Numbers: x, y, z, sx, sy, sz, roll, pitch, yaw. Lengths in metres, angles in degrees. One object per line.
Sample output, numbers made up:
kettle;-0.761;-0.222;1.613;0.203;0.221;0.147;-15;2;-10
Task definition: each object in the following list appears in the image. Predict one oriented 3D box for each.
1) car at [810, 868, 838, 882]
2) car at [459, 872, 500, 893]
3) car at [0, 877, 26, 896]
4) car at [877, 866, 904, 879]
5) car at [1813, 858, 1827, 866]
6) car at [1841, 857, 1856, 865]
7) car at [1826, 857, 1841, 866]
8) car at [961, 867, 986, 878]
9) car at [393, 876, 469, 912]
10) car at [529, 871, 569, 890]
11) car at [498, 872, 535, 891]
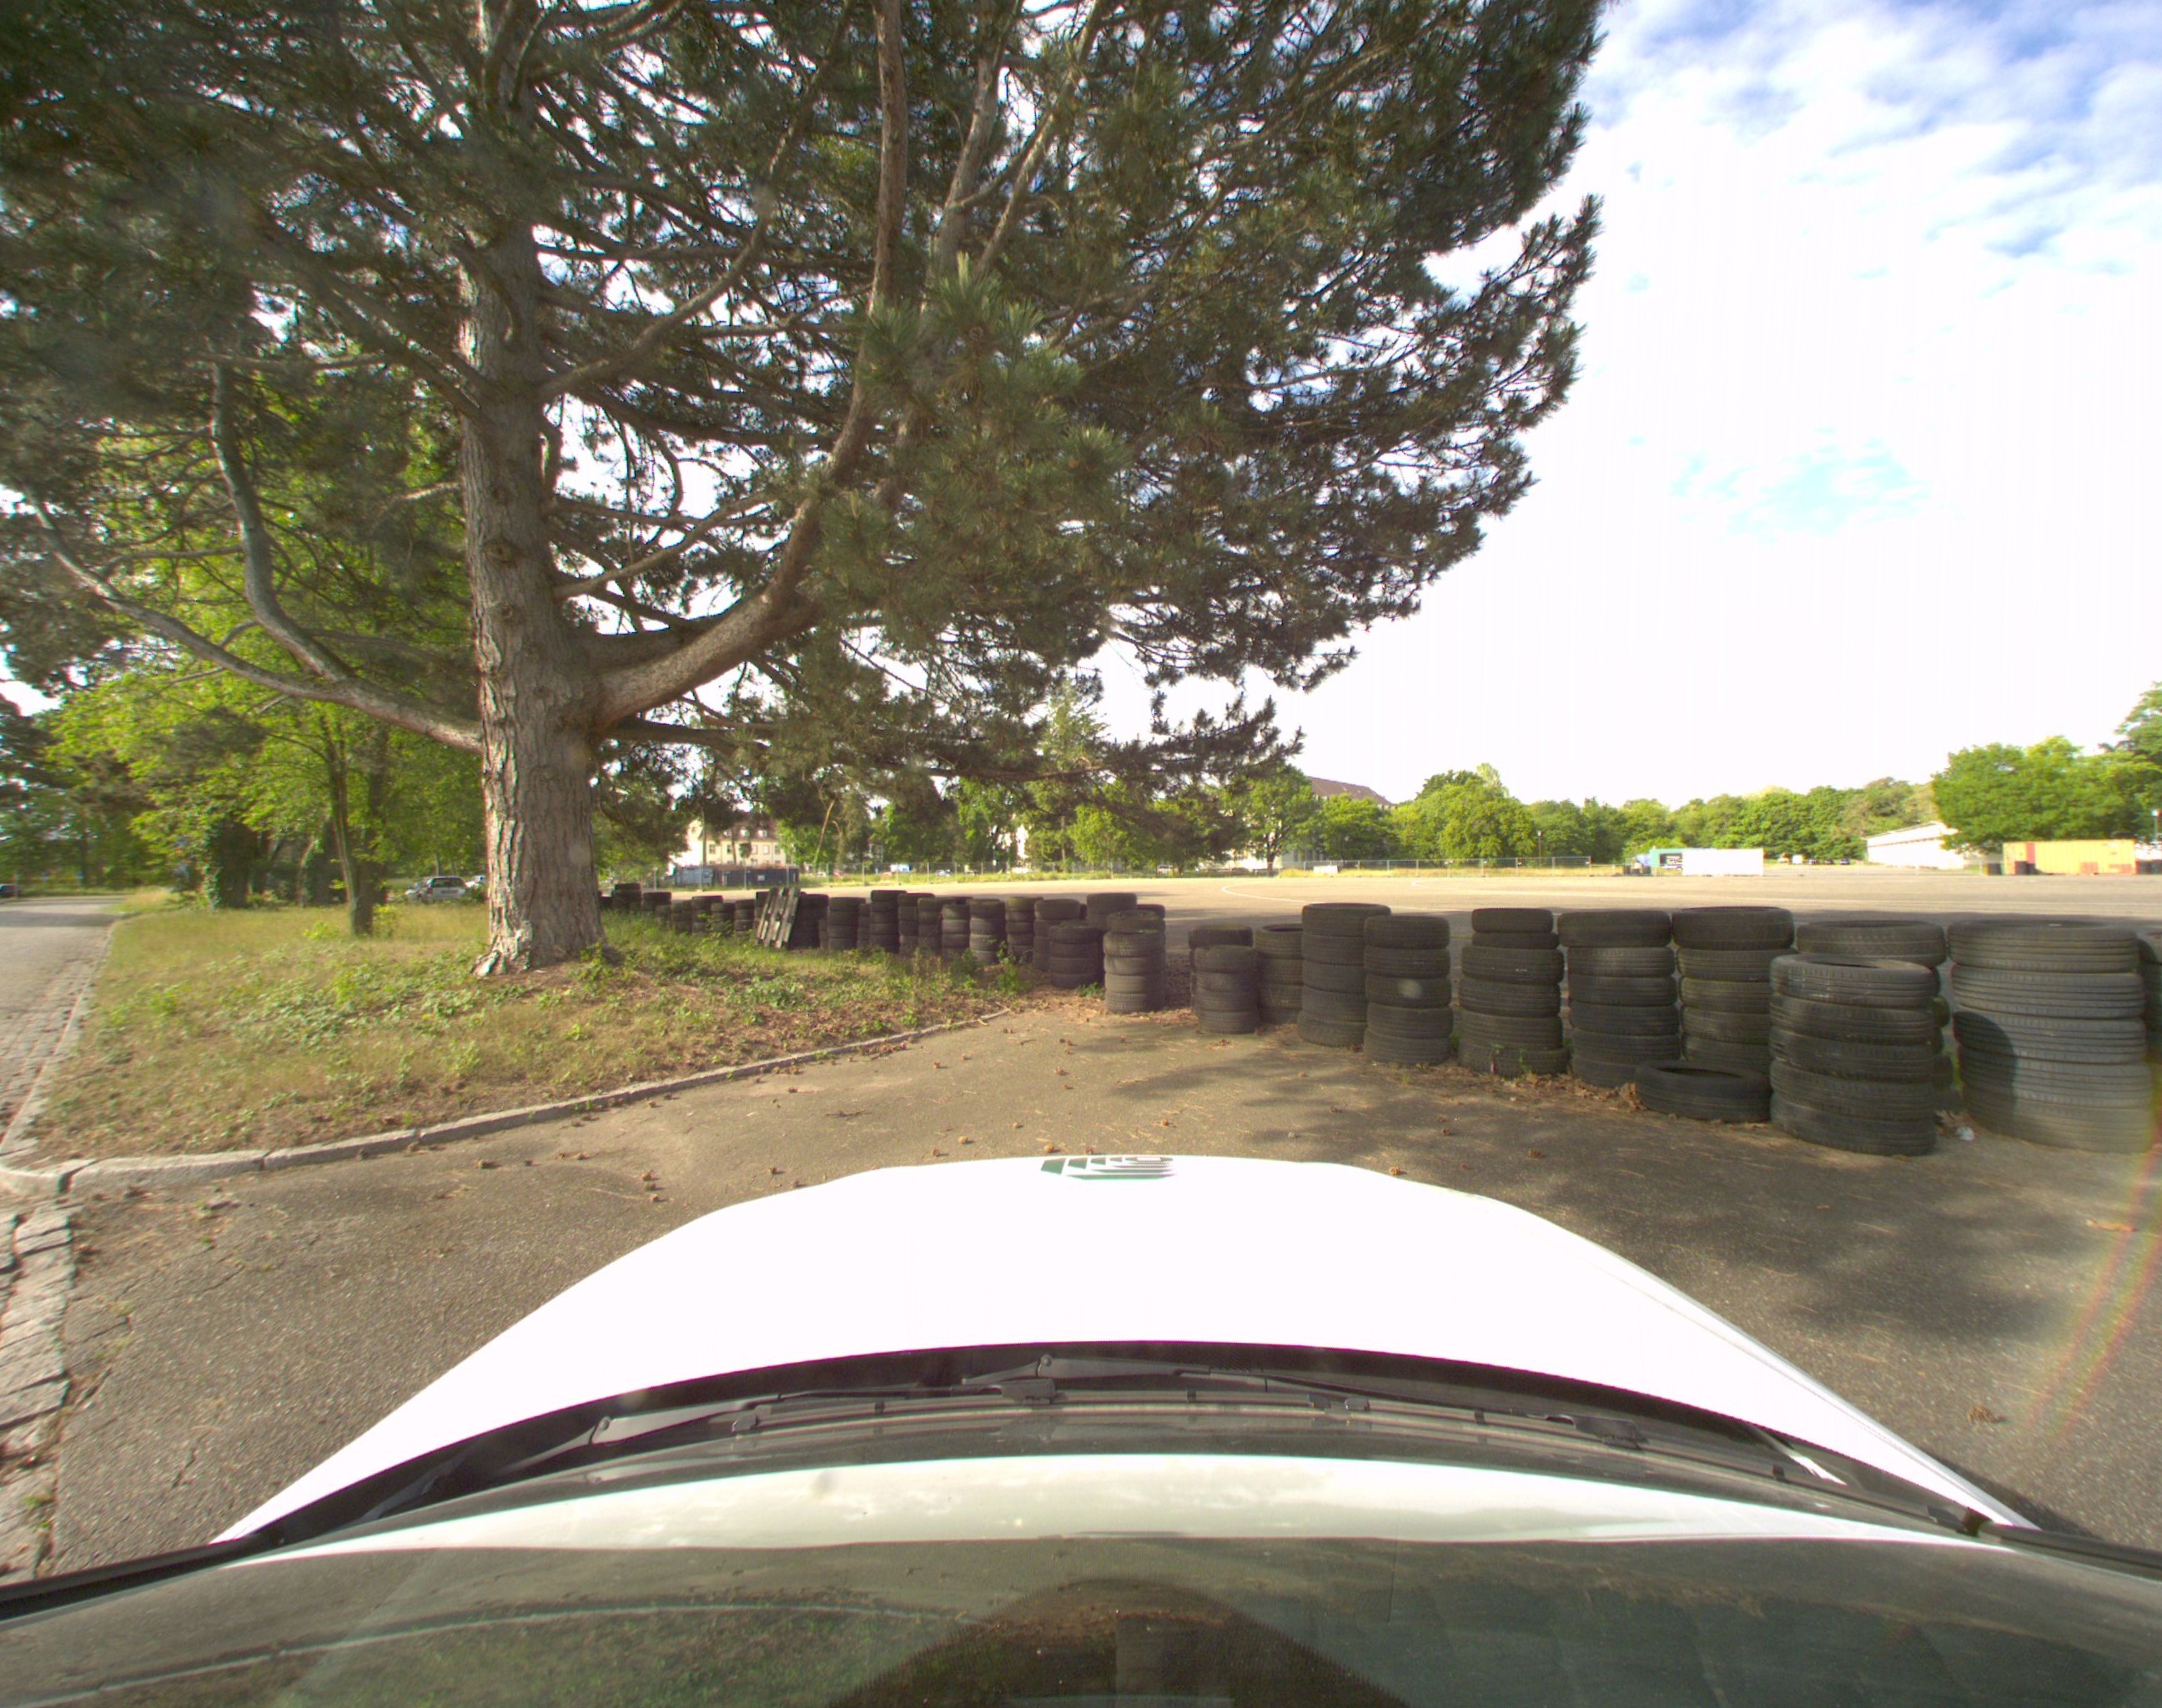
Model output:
car;-33.667;2.771;106.657;2.011;1.750;3.950;0;-1;-44
car;-50.944;2.407;68.930;3.949;1.618;2.012;-2;-1;41
car;-116.796;3.559;88.877;3.949;2.014;1.714;-2;-1;41
car;-26.729;2.661;114.354;2.011;1.750;3.951;0;-1;-43
car;165.963;1.727;182.985;1.974;1.750;4.025;-2;-1;37
car;169.724;1.496;180.064;1.974;1.750;4.025;-2;-1;37
car;167.802;1.648;181.682;2.011;1.809;4.025;-2;-1;37
car;-16.666;2.874;125.921;2.010;1.750;3.953;0;-1;-39
car;-29.604;1.782;37.077;3.948;1.541;1.904;-2;-1;39
car;-47.898;2.375;73.276;3.949;1.618;2.012;-2;-1;41
car;-49.356;2.389;71.157;3.949;1.618;1.838;-2;-1;43
